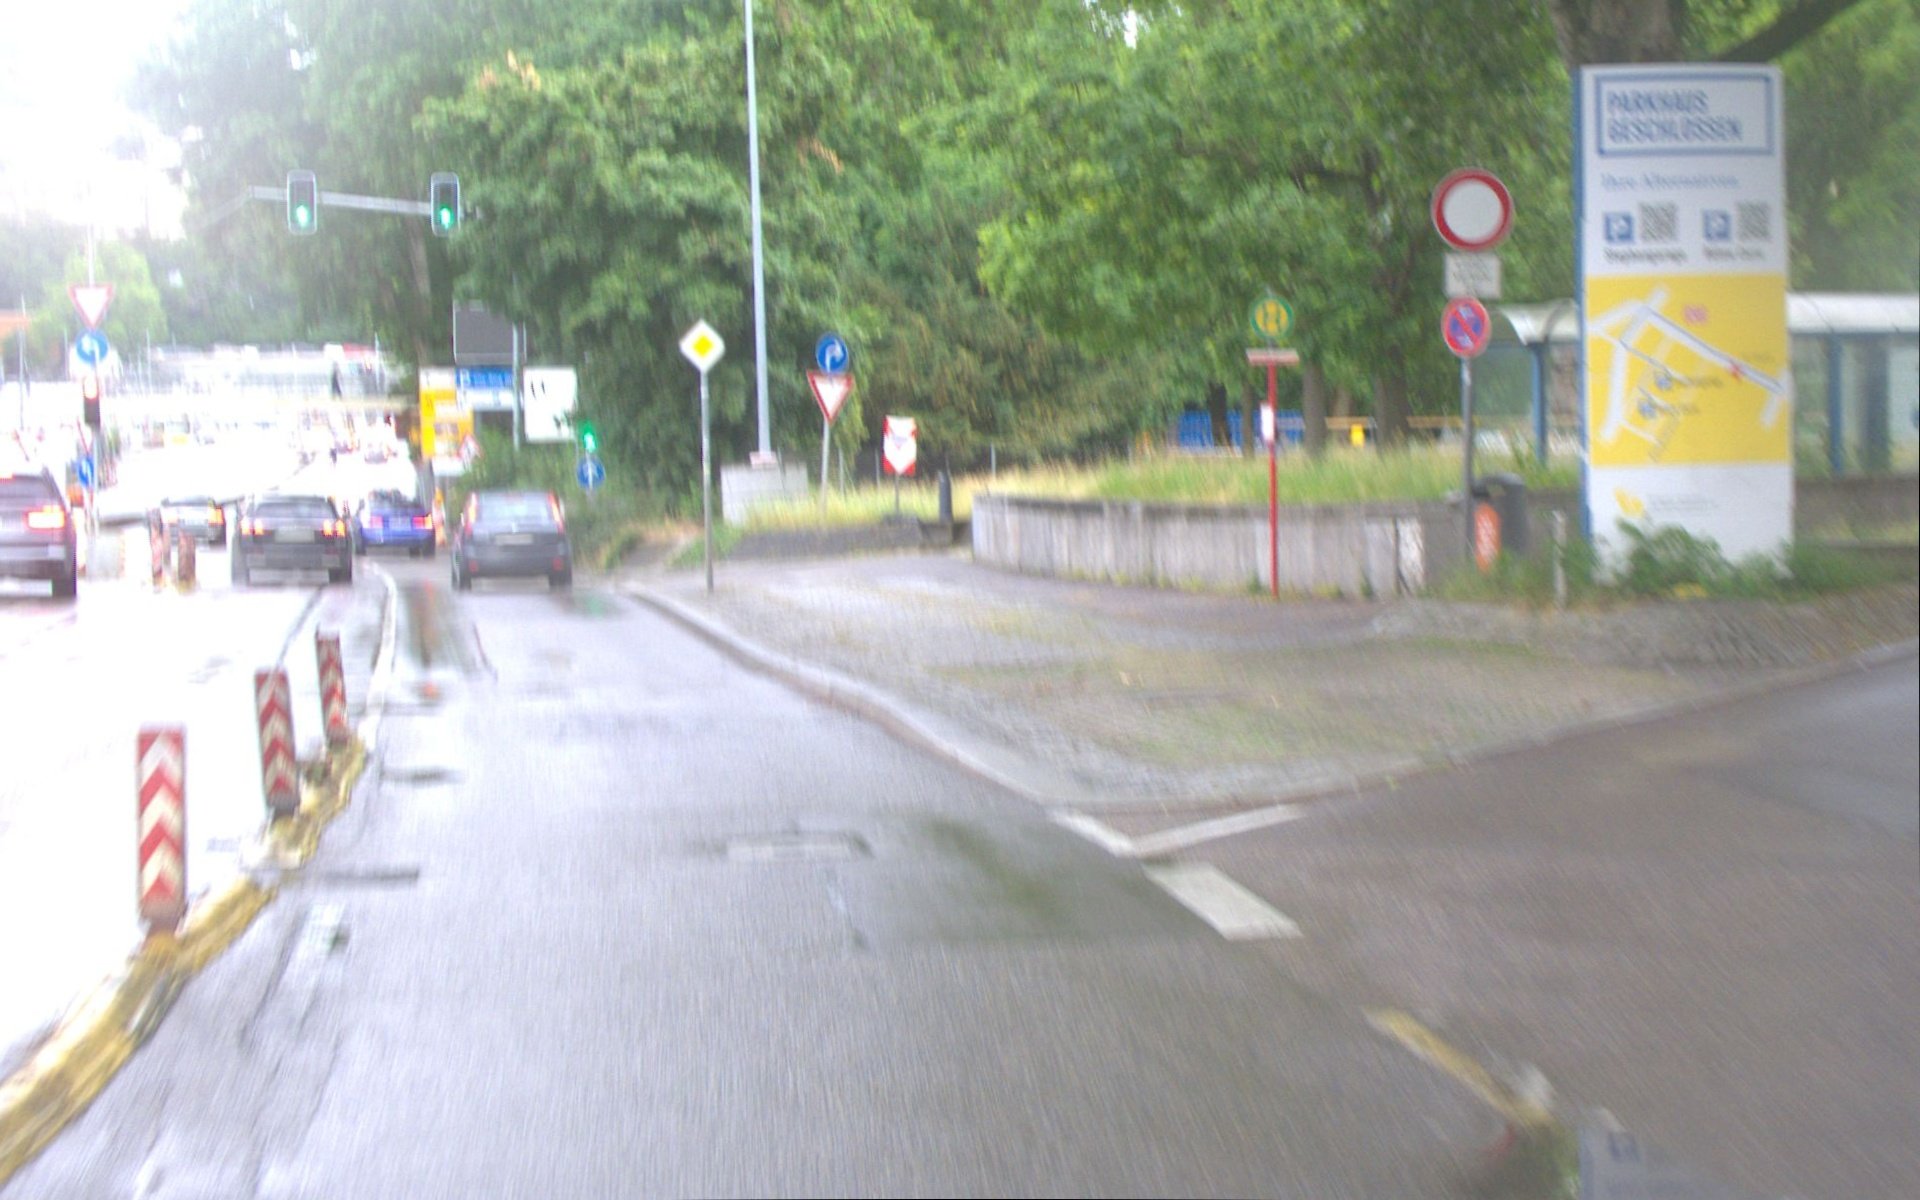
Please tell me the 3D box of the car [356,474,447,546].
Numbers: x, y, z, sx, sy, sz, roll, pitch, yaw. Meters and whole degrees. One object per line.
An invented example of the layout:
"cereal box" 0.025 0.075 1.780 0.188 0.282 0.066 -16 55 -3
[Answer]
"car" -12.738 -2.073 78.566 1.674 1.575 3.240 1 2 -3

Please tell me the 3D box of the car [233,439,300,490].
"car" -22.487 -4.403 111.432 1.634 1.619 3.797 0 3 -19

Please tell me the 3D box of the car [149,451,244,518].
"car" -20.301 -3.087 91.519 1.903 1.711 4.001 1 2 -4

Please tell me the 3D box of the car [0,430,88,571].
"car" -12.933 -1.383 46.644 1.993 1.820 4.002 0 2 -12

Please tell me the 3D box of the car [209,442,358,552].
"car" -10.811 -1.686 55.173 1.830 1.680 4.135 -1 3 -4

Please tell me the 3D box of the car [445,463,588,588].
"car" -6.454 -1.127 50.409 1.851 1.711 4.001 1 2 -4
